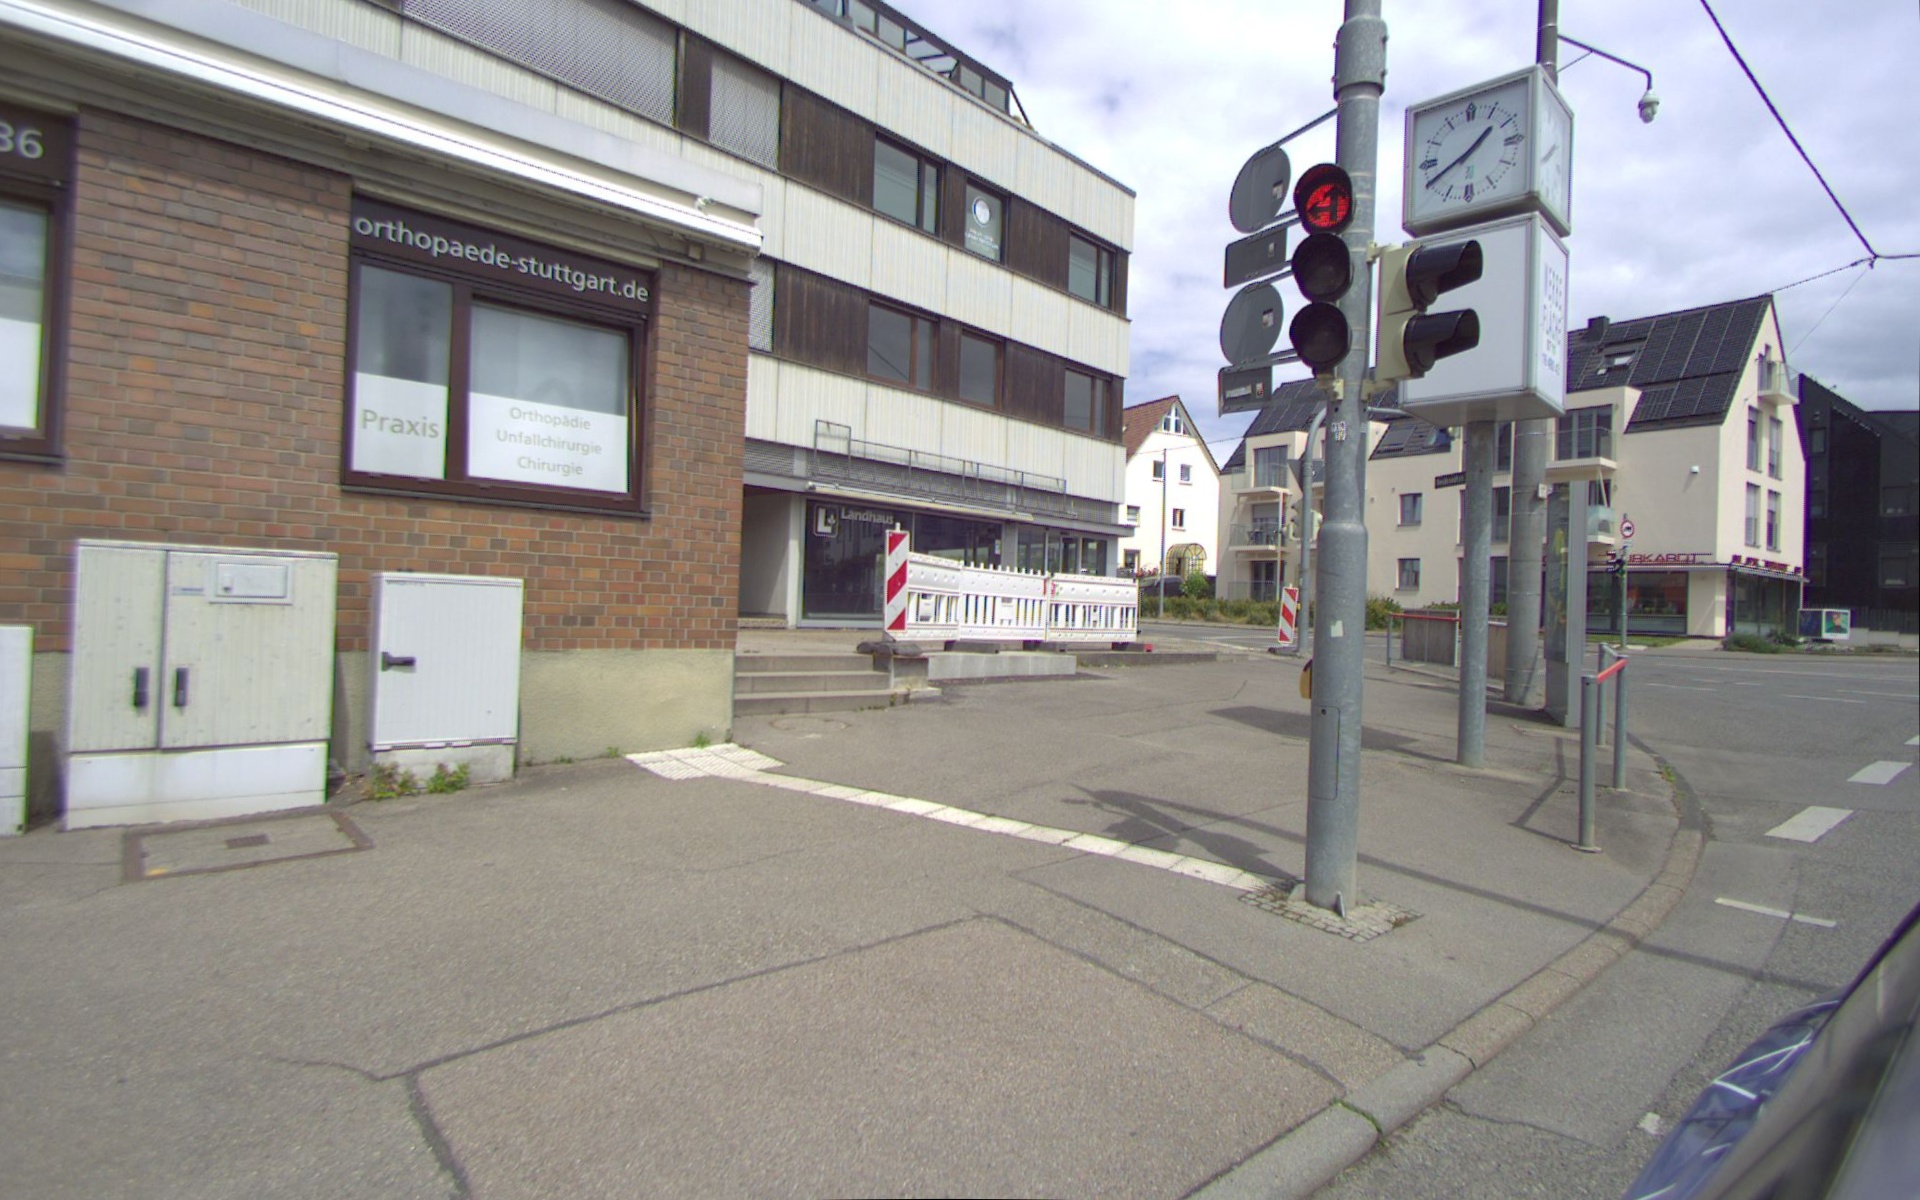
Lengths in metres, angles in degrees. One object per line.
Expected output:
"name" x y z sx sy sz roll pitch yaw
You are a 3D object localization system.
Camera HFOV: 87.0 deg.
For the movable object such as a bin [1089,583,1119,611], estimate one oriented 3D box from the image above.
"movable object such as a bin" 7.360 -0.136 51.721 1.071 1.379 0.982 1 1 -31
